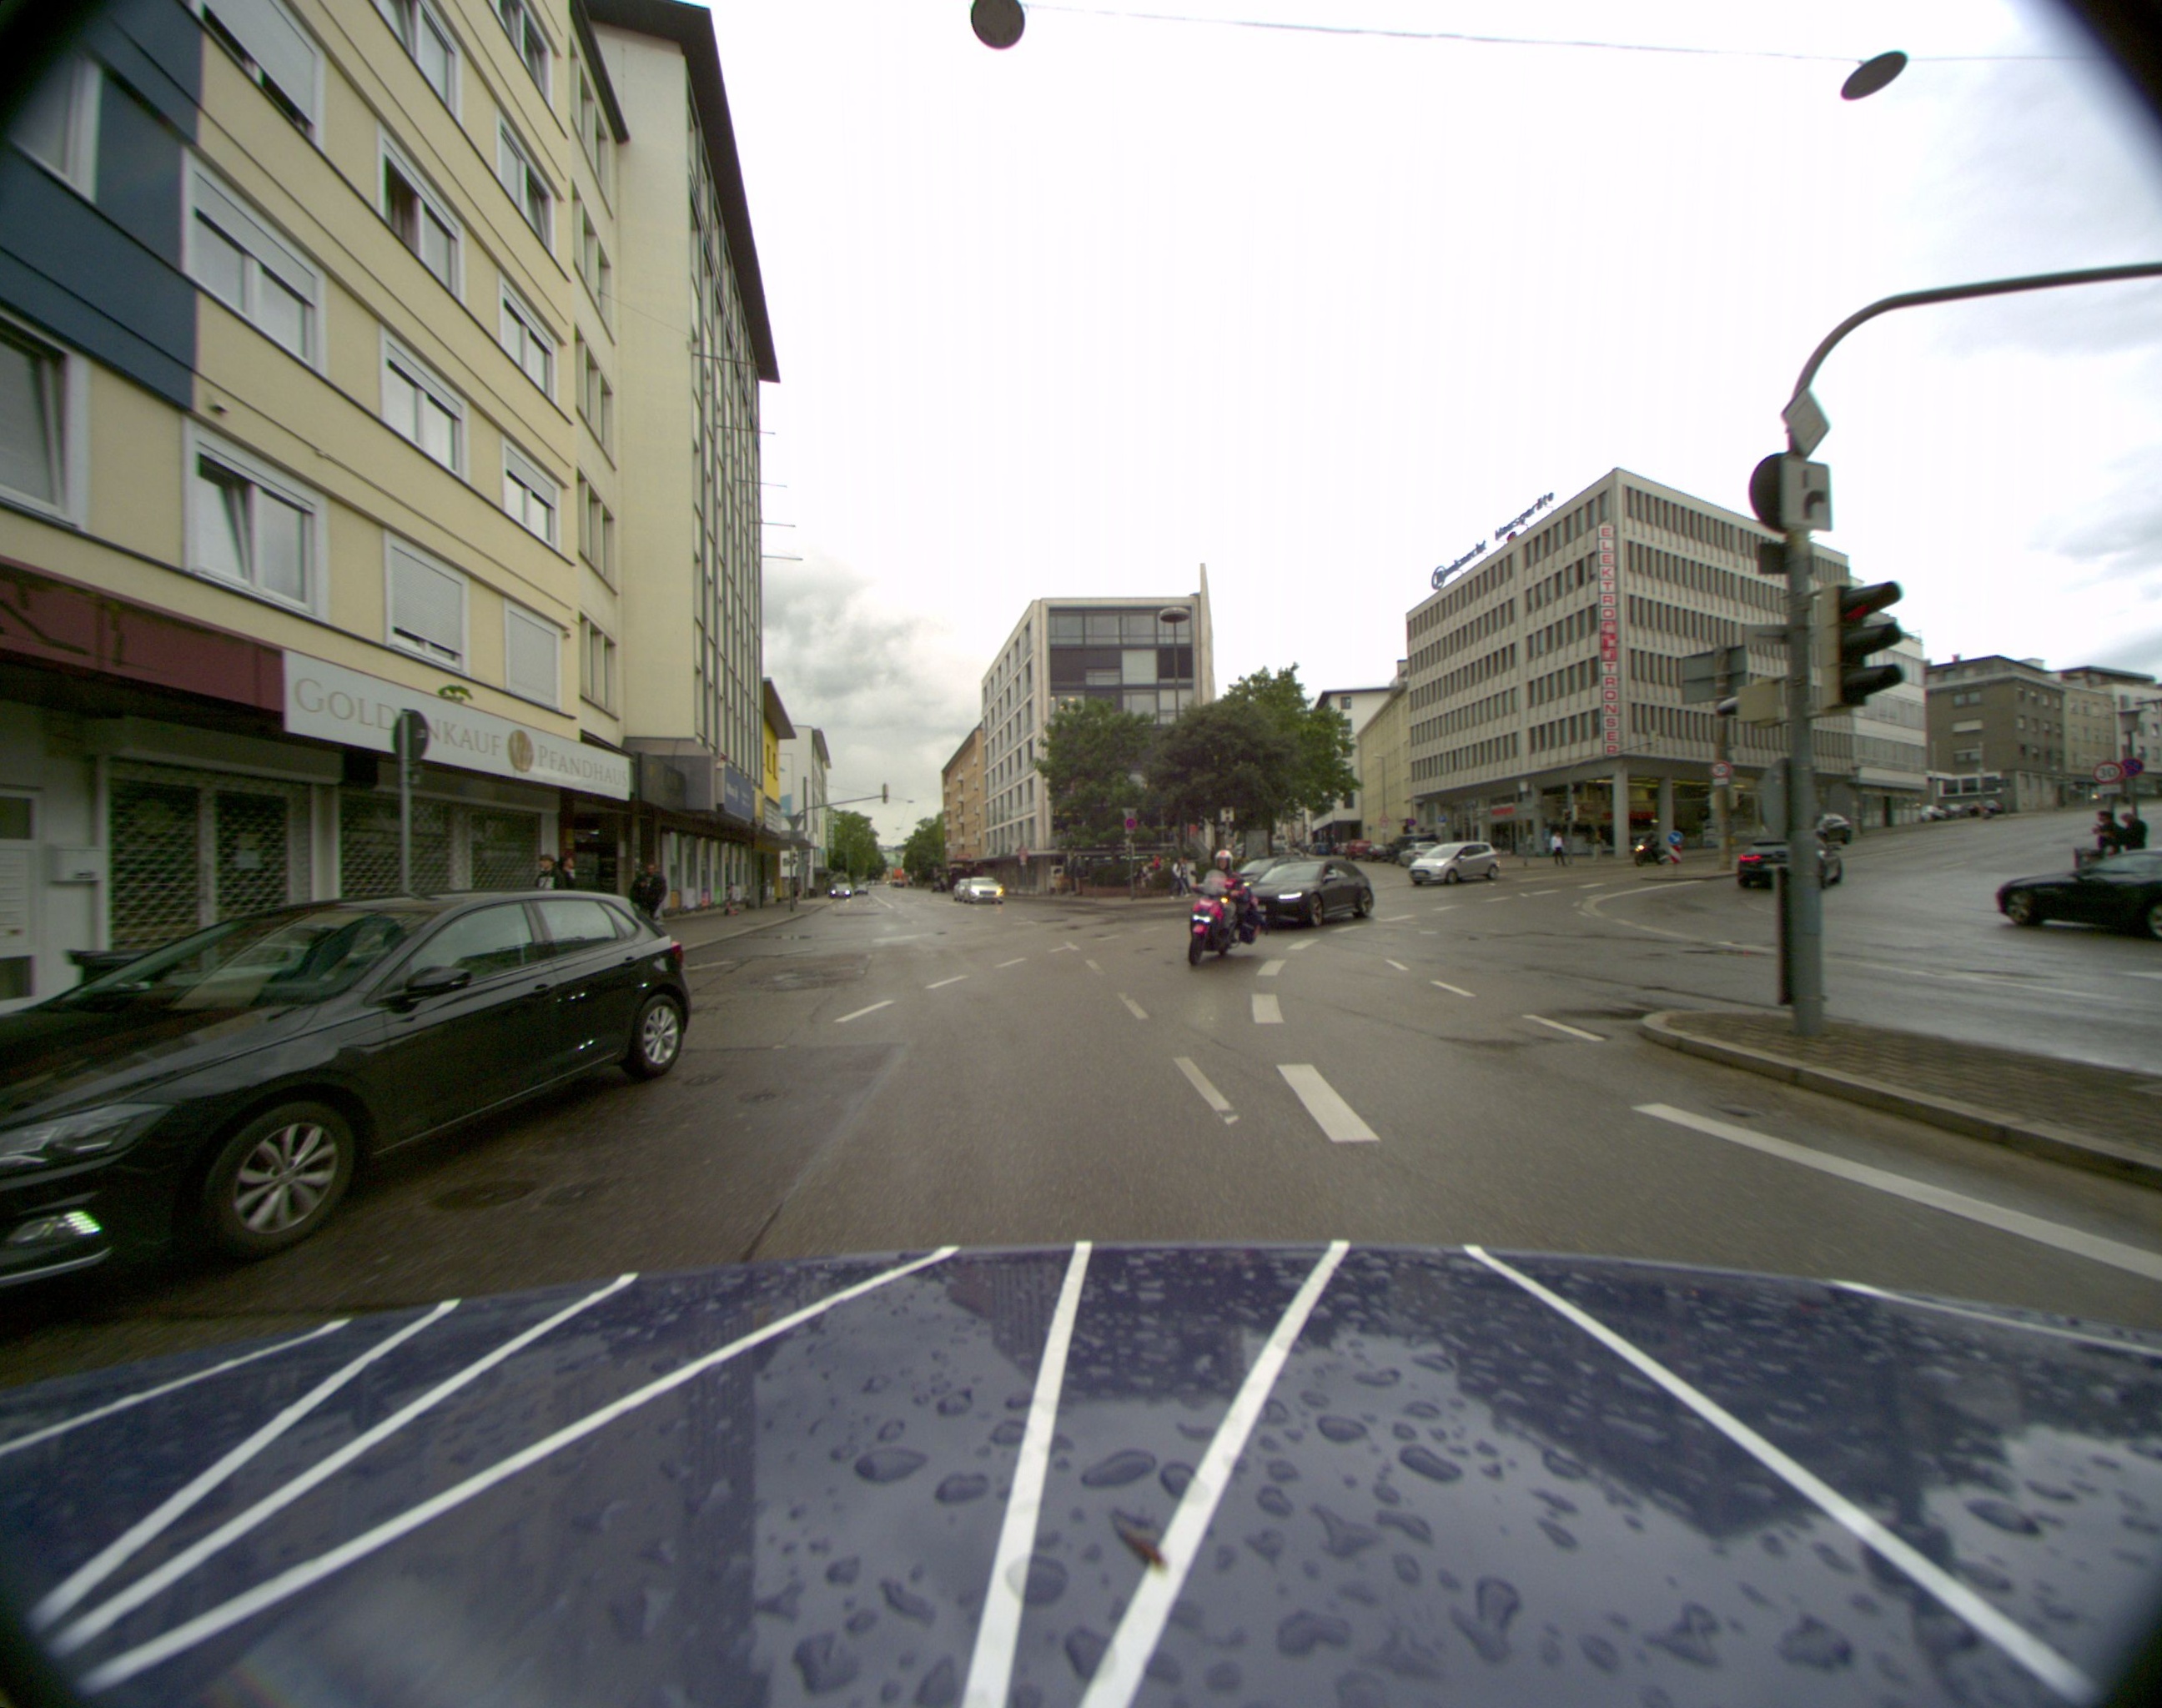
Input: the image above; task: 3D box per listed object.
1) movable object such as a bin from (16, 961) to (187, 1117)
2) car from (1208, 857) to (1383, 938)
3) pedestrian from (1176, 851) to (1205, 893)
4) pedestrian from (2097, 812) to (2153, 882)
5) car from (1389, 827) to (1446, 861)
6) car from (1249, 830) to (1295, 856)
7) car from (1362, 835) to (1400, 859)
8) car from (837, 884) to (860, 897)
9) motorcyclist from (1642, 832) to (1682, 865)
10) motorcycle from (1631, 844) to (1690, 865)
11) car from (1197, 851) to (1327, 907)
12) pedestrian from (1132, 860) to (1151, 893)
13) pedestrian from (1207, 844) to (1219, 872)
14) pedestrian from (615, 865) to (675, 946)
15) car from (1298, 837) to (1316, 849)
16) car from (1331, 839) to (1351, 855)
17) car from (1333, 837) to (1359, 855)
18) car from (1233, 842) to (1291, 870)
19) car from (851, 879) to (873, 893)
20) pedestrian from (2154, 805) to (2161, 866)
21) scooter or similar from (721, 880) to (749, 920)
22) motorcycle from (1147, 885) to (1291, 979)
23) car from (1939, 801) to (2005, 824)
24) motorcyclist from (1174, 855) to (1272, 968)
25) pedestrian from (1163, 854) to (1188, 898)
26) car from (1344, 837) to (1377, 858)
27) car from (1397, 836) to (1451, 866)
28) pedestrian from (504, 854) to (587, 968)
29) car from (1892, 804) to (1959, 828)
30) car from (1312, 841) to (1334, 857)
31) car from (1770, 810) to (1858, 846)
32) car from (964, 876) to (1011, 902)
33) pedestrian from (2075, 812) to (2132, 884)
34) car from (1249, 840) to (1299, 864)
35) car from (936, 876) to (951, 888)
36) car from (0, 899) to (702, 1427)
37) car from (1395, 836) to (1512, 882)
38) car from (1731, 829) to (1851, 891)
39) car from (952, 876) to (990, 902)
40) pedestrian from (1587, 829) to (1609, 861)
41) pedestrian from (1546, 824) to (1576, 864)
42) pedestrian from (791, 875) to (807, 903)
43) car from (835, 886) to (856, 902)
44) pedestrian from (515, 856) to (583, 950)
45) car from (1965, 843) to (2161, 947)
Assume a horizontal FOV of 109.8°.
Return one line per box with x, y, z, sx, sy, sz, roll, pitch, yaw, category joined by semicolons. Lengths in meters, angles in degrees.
-7.050;1.292;5.482;0.530;0.929;0.674;2;0;31;movable object such as a bin
5.141;0.905;17.775;1.994;1.482;4.744;-2;0;42;car
4.833;0.786;33.560;0.783;1.739;0.788;-8;0;-12;pedestrian
26.651;-0.172;19.403;0.700;1.737;0.732;-3;0;-32;pedestrian
22.792;-0.619;51.675;2.095;2.078;4.616;-4;-1;5;car
18.606;-1.028;74.065;3.826;2.252;1.988;-3;1;33;car
23.827;-0.517;60.462;2.024;1.739;4.619;-4;-1;12;car
-28.860;4.546;94.295;2.002;1.444;3.993;-3;-1;-26;car
25.967;-0.252;33.968;1.114;1.434;0.910;-2;1;-13;motorcyclist
25.883;0.033;33.936;2.396;0.837;0.711;-2;1;-13;motorcycle
6.049;0.795;25.220;4.110;1.538;1.868;-3;0;-35;car
3.402;1.290;42.915;0.789;1.802;0.592;-4;-1;-12;pedestrian
8.875;0.283;51.129;0.592;1.802;0.705;-4;-1;13;pedestrian
-9.600;1.127;16.755;0.753;1.712;0.754;-4;0;17;pedestrian
35.378;-1.651;118.965;2.024;1.639;4.431;-4;-1;10;car
32.060;-0.832;93.793;1.747;1.784;3.670;-4;-1;10;car
31.267;-0.910;89.760;2.024;1.981;4.431;-4;-1;10;car
11.727;0.120;49.169;3.540;1.550;1.742;-4;1;16;car
-29.325;4.267;101.549;2.003;1.610;4.115;-2;0;-27;car
29.032;-0.518;20.053;0.734;1.620;0.693;-3;0;-30;pedestrian
-12.609;1.671;27.711;0.377;1.352;1.148;-3;1;0;scooter or similar
2.149;1.116;11.551;1.310;1.129;2.189;-2;1;35;motorcycle
89.475;-4.151;76.331;2.003;2.002;3.991;-3;0;-33;car
2.167;0.846;11.541;1.090;1.595;0.955;-3;0;35;motorcyclist
4.148;0.963;33.390;0.593;1.863;0.788;-8;0;-12;pedestrian
24.687;-0.586;67.248;1.931;1.662;4.449;-4;-1;10;car
20.820;-0.148;46.271;2.000;1.621;4.619;-4;-1;13;car
-8.544;0.907;12.148;0.838;1.753;0.617;2;-2;-12;pedestrian
79.678;-3.585;71.758;1.750;1.945;3.990;-3;0;-34;car
29.824;-0.642;93.682;2.024;1.830;4.048;-4;-1;12;car
39.245;-1.379;40.672;4.004;1.673;1.996;-3;1;-24;car
-5.174;1.876;41.600;1.976;1.379;3.995;0;-2;-16;car
25.646;-0.143;19.056;0.744;1.737;0.732;-3;0;-32;pedestrian
14.428;-0.129;56.932;3.540;1.550;1.741;-4;1;13;car
-19.632;3.995;108.330;1.829;1.564;3.996;-3;-1;-13;car
-4.019;1.081;4.112;1.742;1.422;3.882;-3;-1;3;car
14.984;0.220;30.591;4.108;1.574;1.997;-3;-1;-24;car
20.666;0.151;22.064;4.386;1.542;1.995;-3;-1;-40;car
-7.139;2.215;49.045;1.811;1.489;3.995;-3;-1;-16;car
27.355;-0.477;40.191;0.714;1.613;0.724;-2;1;15;pedestrian
24.644;-0.492;39.001;0.993;2.002;0.948;-2;1;11;pedestrian
-17.189;2.106;46.317;0.738;1.636;0.641;-4;1;-14;pedestrian
-23.326;3.943;75.293;1.787;1.444;3.995;-3;-1;-17;car
-10.345;0.927;14.785;0.616;1.752;0.790;-4;0;17;pedestrian
15.670;0.538;11.065;1.793;1.353;4.066;-1;0;18;car
